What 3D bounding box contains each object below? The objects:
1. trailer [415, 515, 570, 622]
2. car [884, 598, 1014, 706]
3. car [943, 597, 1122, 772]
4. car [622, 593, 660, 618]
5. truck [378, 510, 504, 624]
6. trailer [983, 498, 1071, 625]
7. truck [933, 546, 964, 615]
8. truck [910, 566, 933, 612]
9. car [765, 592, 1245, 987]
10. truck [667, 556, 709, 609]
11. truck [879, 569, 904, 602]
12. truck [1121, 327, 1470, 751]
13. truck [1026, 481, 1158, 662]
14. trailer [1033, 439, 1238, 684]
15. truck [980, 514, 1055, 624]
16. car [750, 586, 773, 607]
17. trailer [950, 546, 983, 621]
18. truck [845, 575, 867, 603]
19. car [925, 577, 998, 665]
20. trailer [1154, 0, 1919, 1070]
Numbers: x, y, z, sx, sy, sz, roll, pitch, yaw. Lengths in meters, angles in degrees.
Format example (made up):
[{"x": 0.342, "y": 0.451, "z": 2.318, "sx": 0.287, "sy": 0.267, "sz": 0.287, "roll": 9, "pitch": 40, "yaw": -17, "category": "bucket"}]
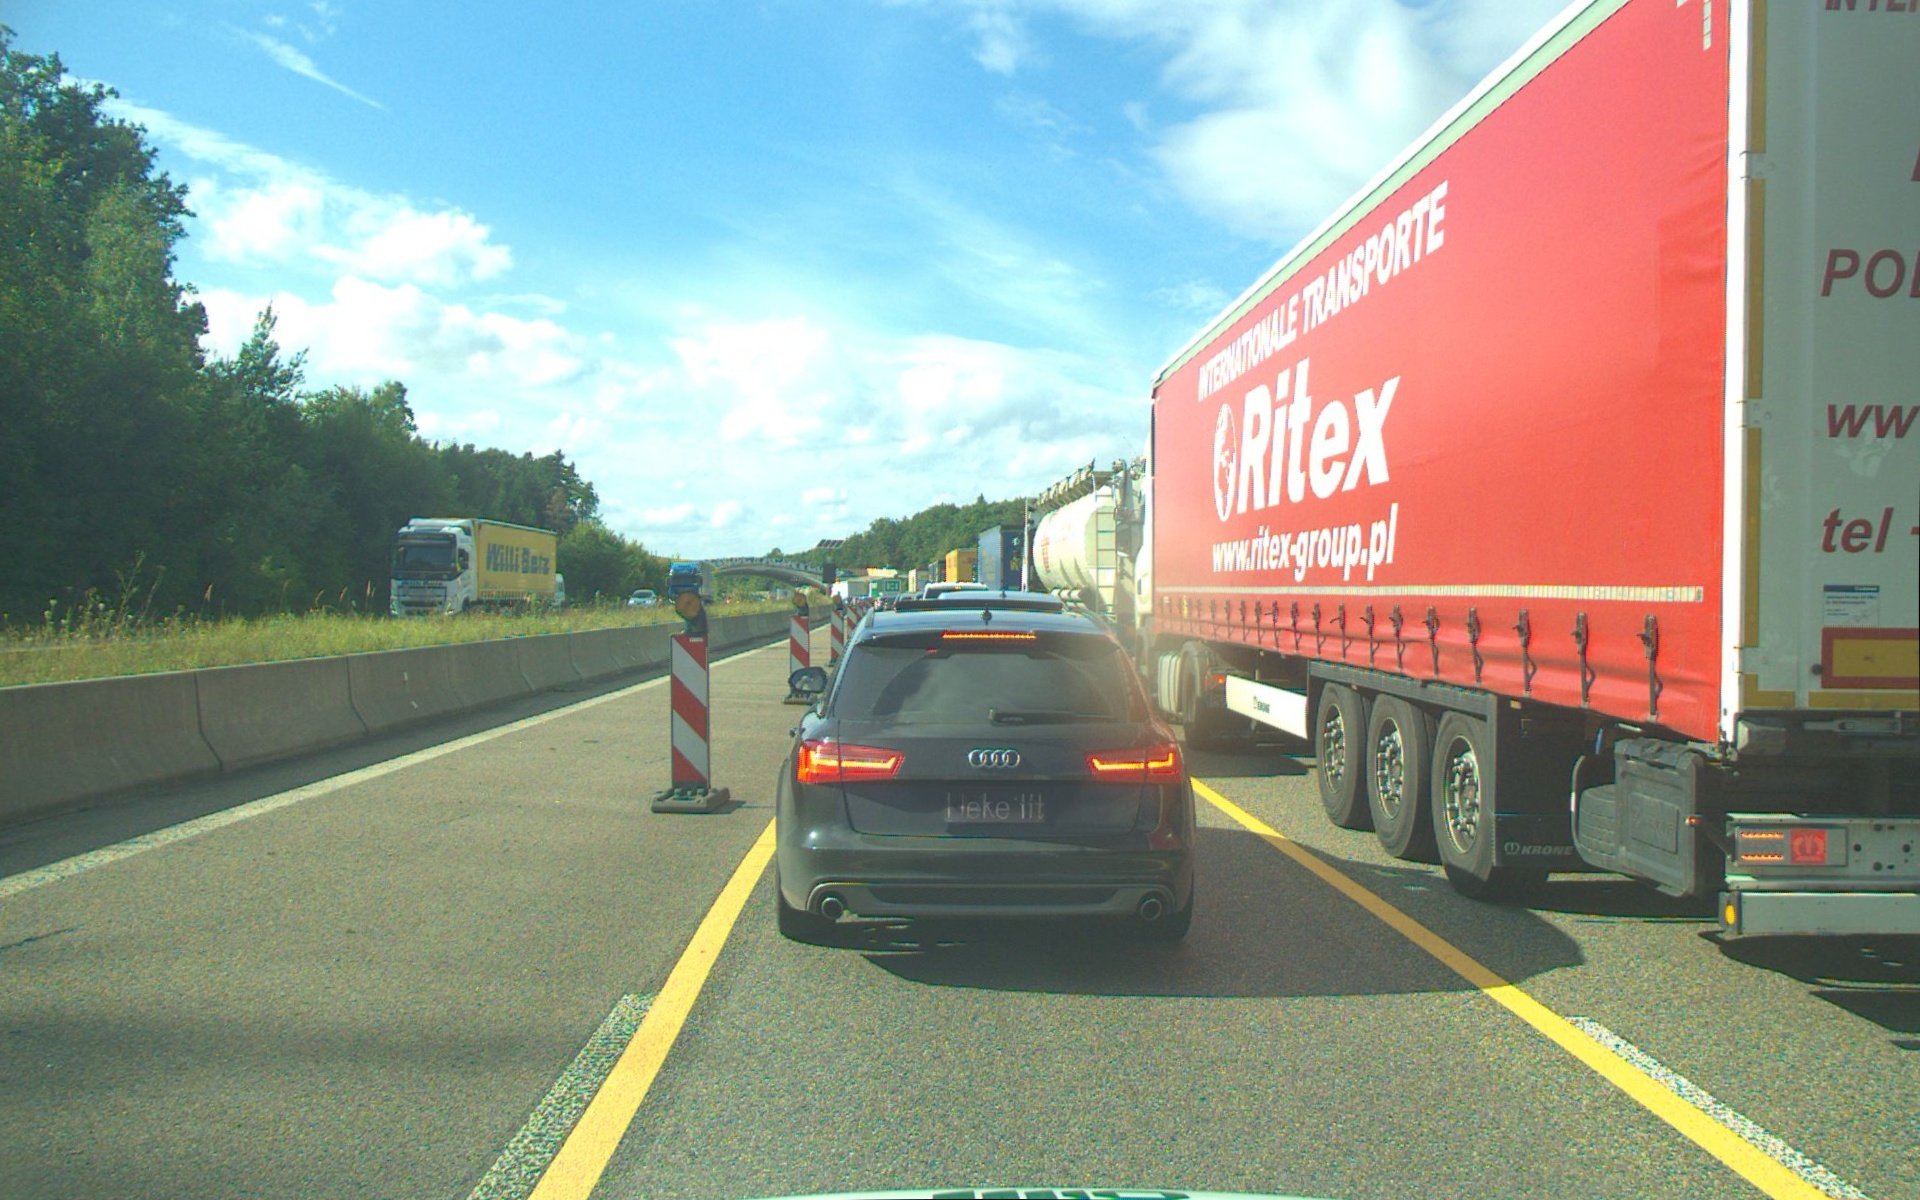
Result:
[{"x": -19.273, "y": -1.146, "z": 69.333, "sx": 2.770, "sy": 3.991, "sz": 13.935, "roll": 1, "pitch": 0, "yaw": -1, "category": "trailer"}, {"x": -0.169, "y": 0.708, "z": 24.019, "sx": 1.716, "sy": 1.421, "sz": 3.607, "roll": 1, "pitch": 0, "yaw": -1, "category": "car"}, {"x": 0.606, "y": 0.731, "z": 15.777, "sx": 1.493, "sy": 1.464, "sz": 3.284, "roll": 1, "pitch": 0, "yaw": -1, "category": "car"}, {"x": -21.306, "y": 0.371, "z": 110.584, "sx": 1.751, "sy": 1.588, "sz": 3.999, "roll": 1, "pitch": 0, "yaw": -1, "category": "car"}, {"x": -19.080, "y": -1.151, "z": 61.201, "sx": 2.769, "sy": 3.977, "sz": 5.947, "roll": 1, "pitch": 0, "yaw": -1, "category": "truck"}, {"x": 2.483, "y": -1.341, "z": 64.499, "sx": 2.748, "sy": 4.490, "sz": 10.430, "roll": 1, "pitch": 0, "yaw": -1, "category": "trailer"}, {"x": -0.931, "y": -1.440, "z": 125.658, "sx": 1.953, "sy": 5.000, "sz": 9.558, "roll": 1, "pitch": 0, "yaw": -2, "category": "truck"}, {"x": -3.701, "y": -1.005, "z": 158.379, "sx": 2.094, "sy": 4.332, "sz": 7.069, "roll": 1, "pitch": 0, "yaw": -1, "category": "truck"}, {"x": 0.145, "y": 0.714, "z": 8.280, "sx": 1.811, "sy": 1.489, "sz": 3.999, "roll": 1, "pitch": 0, "yaw": -1, "category": "car"}, {"x": -22.459, "y": -1.429, "z": 136.643, "sx": 2.584, "sy": 4.262, "sz": 5.466, "roll": 1, "pitch": 0, "yaw": -1, "category": "truck"}, {"x": -9.181, "y": -1.935, "z": 221.114, "sx": 3.238, "sy": 4.248, "sz": 9.696, "roll": 1, "pitch": 0, "yaw": -3, "category": "truck"}, {"x": 3.510, "y": -0.591, "z": 18.769, "sx": 2.614, "sy": 4.029, "sz": 5.709, "roll": 1, "pitch": 0, "yaw": -2, "category": "truck"}, {"x": 3.092, "y": -0.629, "z": 40.185, "sx": 2.605, "sy": 4.041, "sz": 5.777, "roll": 1, "pitch": 0, "yaw": -1, "category": "truck"}, {"x": 3.196, "y": -0.641, "z": 33.773, "sx": 2.590, "sy": 4.012, "sz": 12.595, "roll": 1, "pitch": 0, "yaw": -1, "category": "trailer"}, {"x": 2.384, "y": -1.249, "z": 71.385, "sx": 2.749, "sy": 4.446, "sz": 7.790, "roll": 1, "pitch": 0, "yaw": -1, "category": "truck"}, {"x": -19.421, "y": -0.374, "z": 161.884, "sx": 1.954, "sy": 1.982, "sz": 3.998, "roll": 1, "pitch": 0, "yaw": -3, "category": "car"}, {"x": 0.313, "y": -0.863, "z": 92.397, "sx": 1.584, "sy": 3.987, "sz": 6.487, "roll": 1, "pitch": 0, "yaw": -2, "category": "trailer"}, {"x": -16.001, "y": -1.662, "z": 253.973, "sx": 3.239, "sy": 4.248, "sz": 9.694, "roll": 1, "pitch": 0, "yaw": -4, "category": "truck"}, {"x": 0.019, "y": 0.461, "z": 37.421, "sx": 1.549, "sy": 1.869, "sz": 3.111, "roll": 1, "pitch": 0, "yaw": -1, "category": "car"}, {"x": 3.689, "y": -0.563, "z": 11.896, "sx": 2.645, "sy": 4.038, "sz": 13.413, "roll": 1, "pitch": 0, "yaw": -1, "category": "trailer"}]
